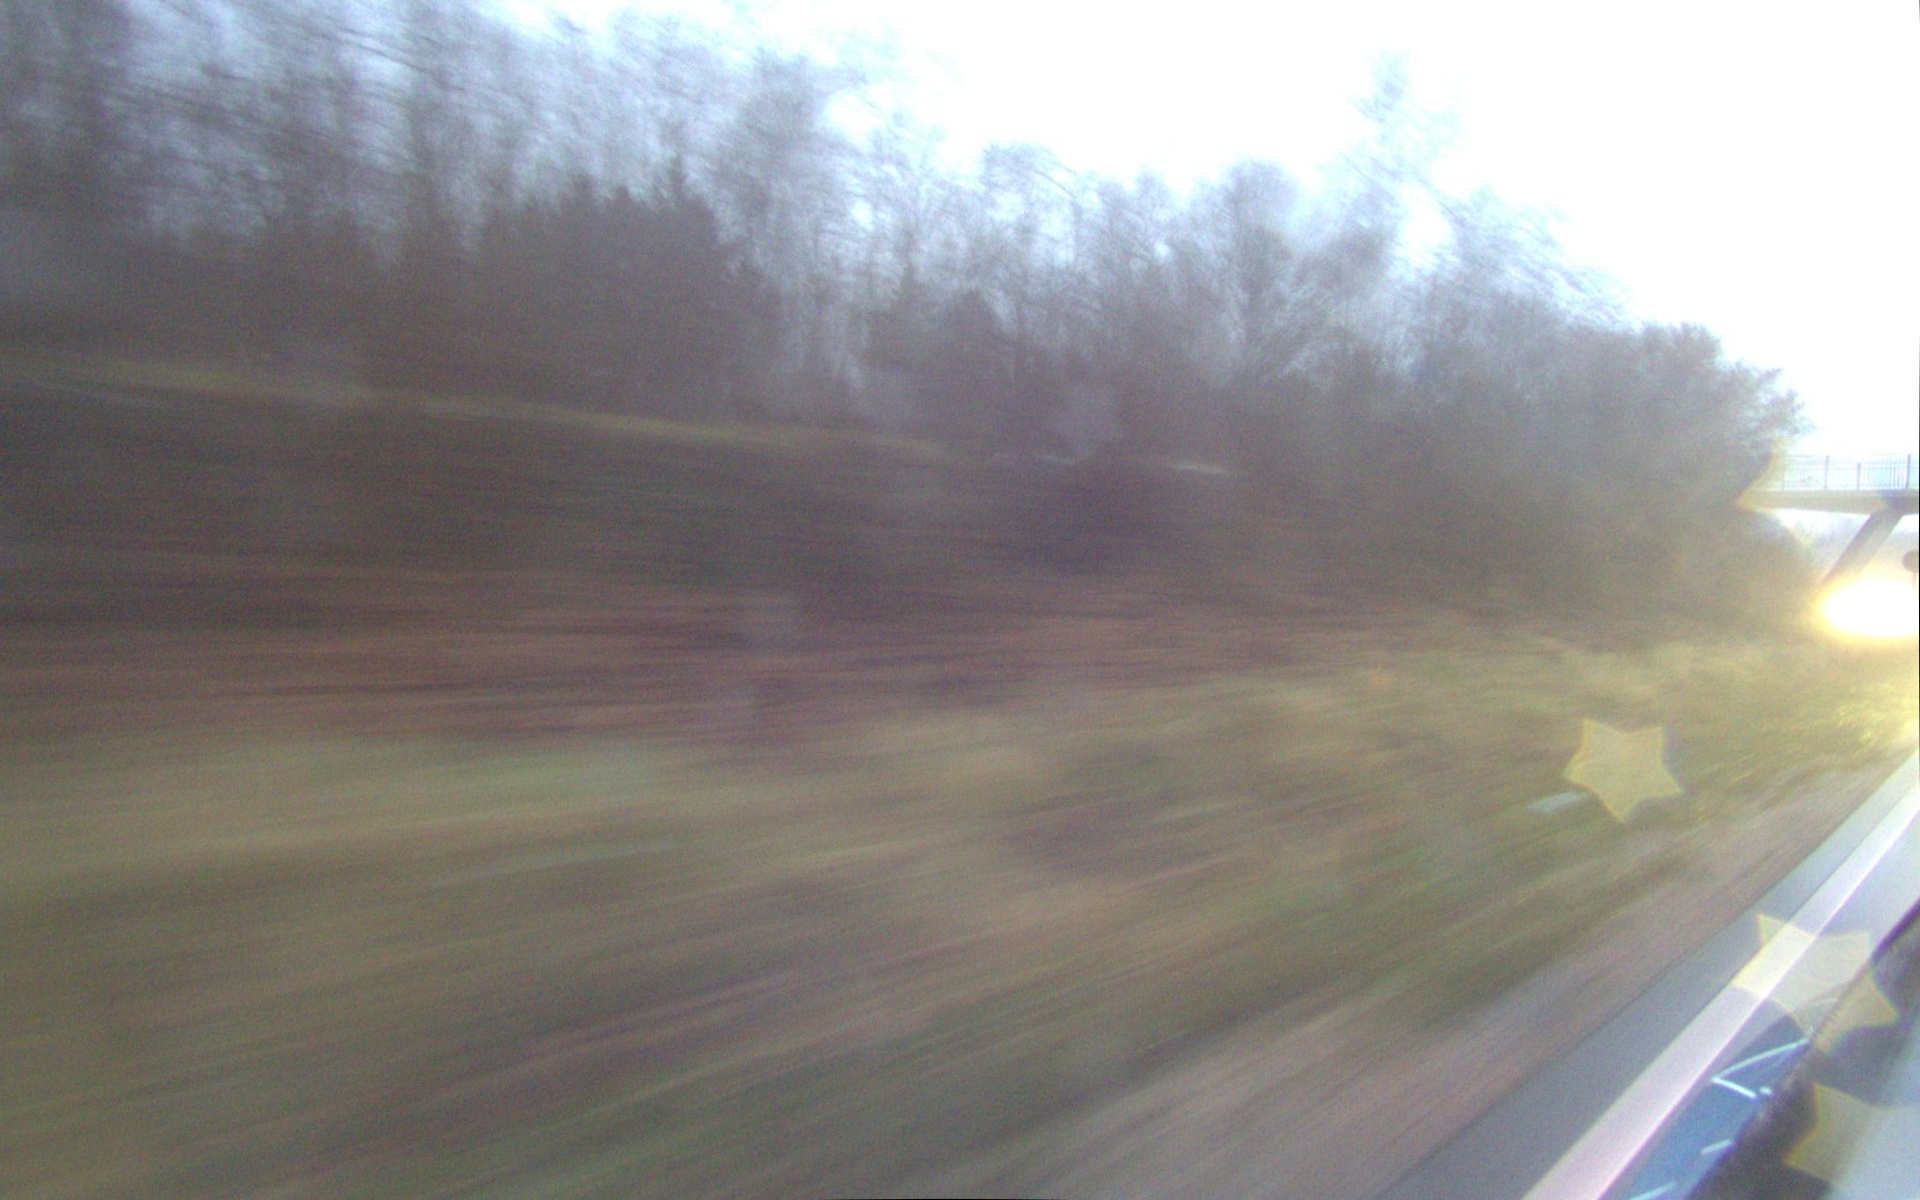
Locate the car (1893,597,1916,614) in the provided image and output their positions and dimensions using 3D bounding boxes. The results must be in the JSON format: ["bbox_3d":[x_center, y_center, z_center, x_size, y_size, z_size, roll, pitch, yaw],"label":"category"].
[{"bbox_3d":[101.015,0.587,108.273,1.712,1.647,4.154,2,2,42],"label":"car"}]

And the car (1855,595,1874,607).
[{"bbox_3d":[129.476,0.143,144.886,1.823,1.541,4.235,7,5,40],"label":"car"}]

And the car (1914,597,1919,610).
[{"bbox_3d":[125.470,0.444,131.518,1.900,1.669,4.658,2,1,40],"label":"car"}]
